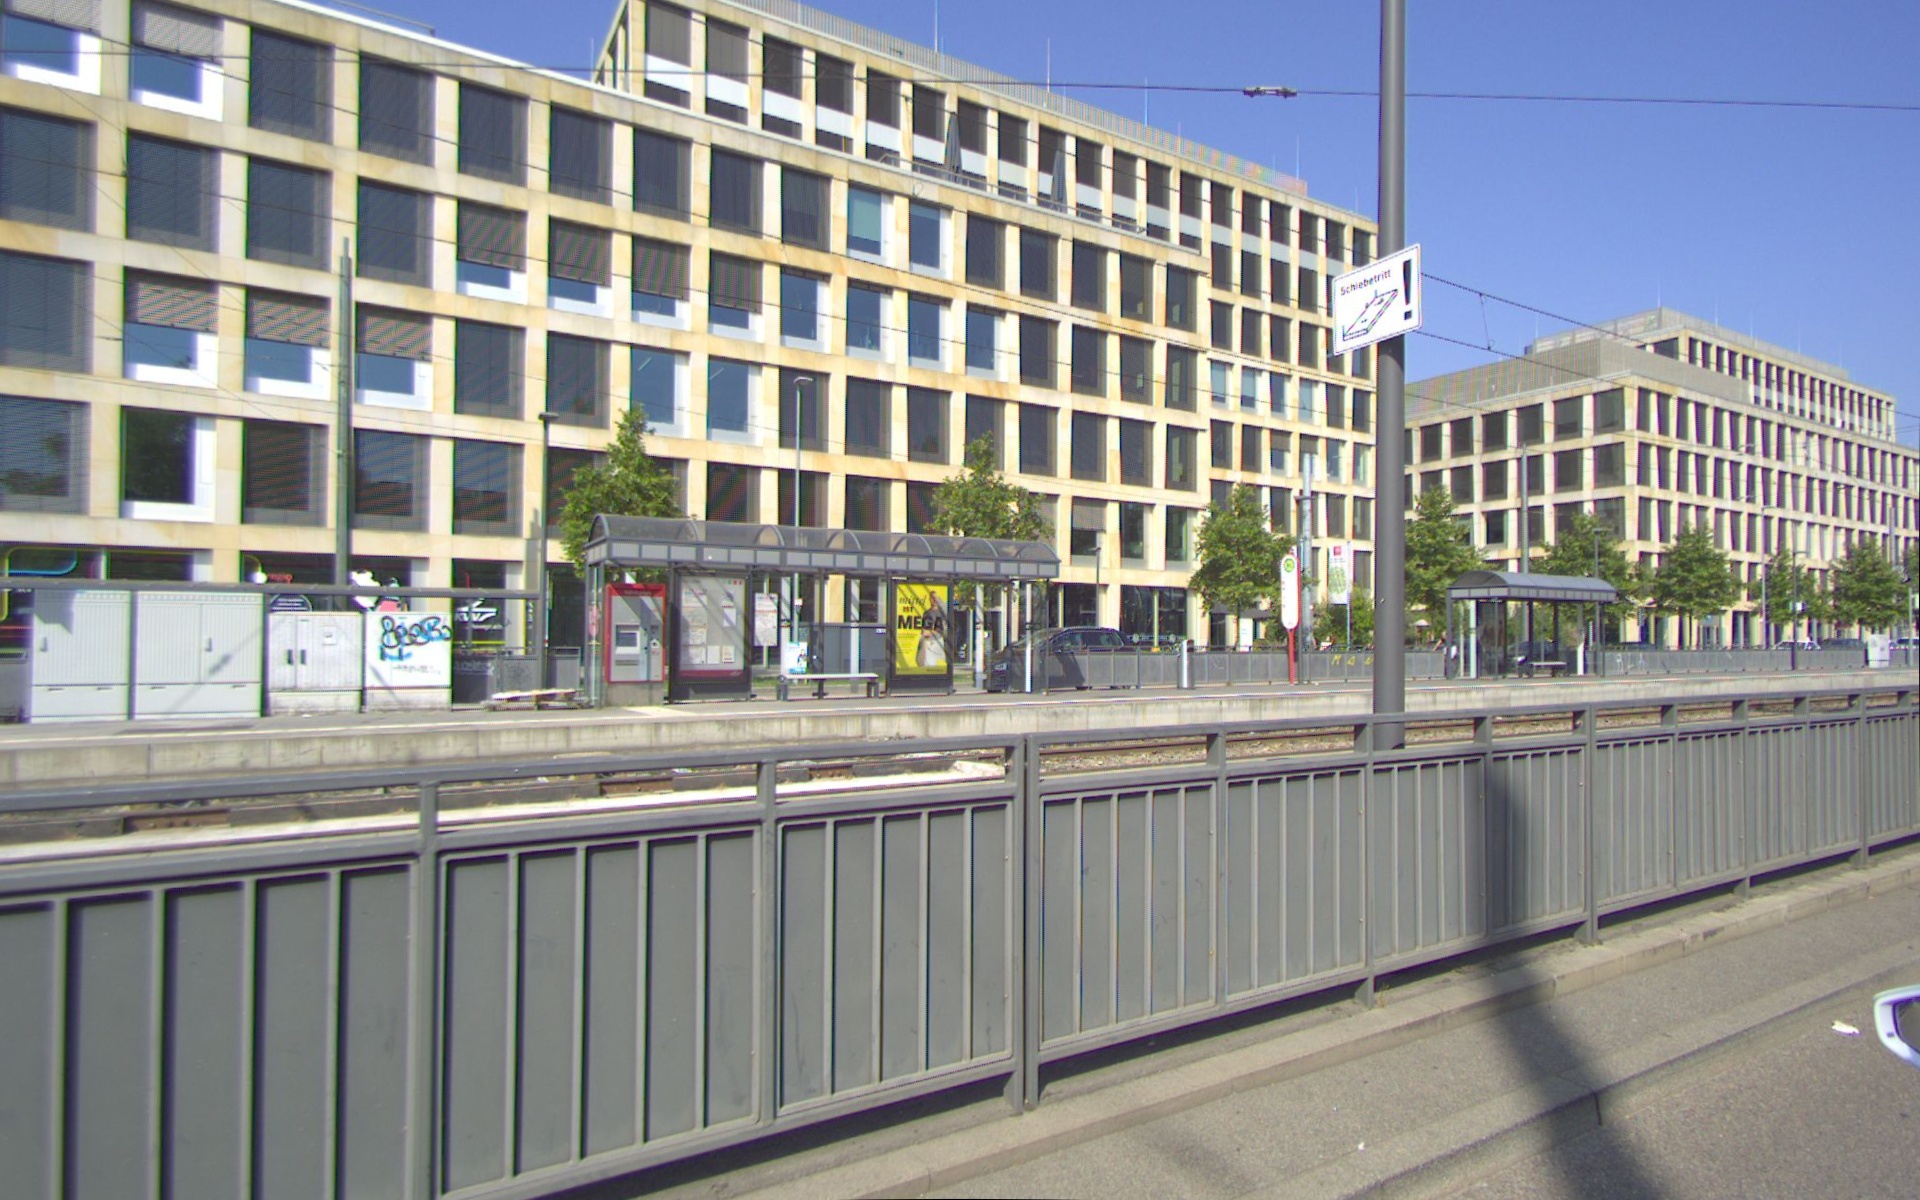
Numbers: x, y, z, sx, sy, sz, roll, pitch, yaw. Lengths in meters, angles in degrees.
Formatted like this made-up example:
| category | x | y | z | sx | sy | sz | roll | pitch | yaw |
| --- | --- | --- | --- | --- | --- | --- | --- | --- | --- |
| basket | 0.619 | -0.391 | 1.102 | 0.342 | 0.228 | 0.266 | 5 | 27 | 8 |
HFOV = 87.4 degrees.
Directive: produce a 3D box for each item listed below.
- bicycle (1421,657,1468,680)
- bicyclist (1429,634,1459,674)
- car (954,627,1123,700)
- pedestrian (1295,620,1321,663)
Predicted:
| category | x | y | z | sx | sy | sz | roll | pitch | yaw |
| --- | --- | --- | --- | --- | --- | --- | --- | --- | --- |
| bicycle | 17.752 | 2.517 | 36.791 | 1.876 | 0.832 | 0.626 | 3 | -6 | -31 |
| bicyclist | 17.739 | 1.987 | 36.828 | 0.775 | 1.420 | 0.626 | 3 | -6 | -31 |
| car | 1.876 | 1.459 | 23.726 | 3.715 | 1.591 | 1.654 | 1 | -2 | -30 |
| pedestrian | 16.501 | 1.969 | 47.569 | 0.830 | 1.941 | 0.788 | 4 | -6 | -36 |
